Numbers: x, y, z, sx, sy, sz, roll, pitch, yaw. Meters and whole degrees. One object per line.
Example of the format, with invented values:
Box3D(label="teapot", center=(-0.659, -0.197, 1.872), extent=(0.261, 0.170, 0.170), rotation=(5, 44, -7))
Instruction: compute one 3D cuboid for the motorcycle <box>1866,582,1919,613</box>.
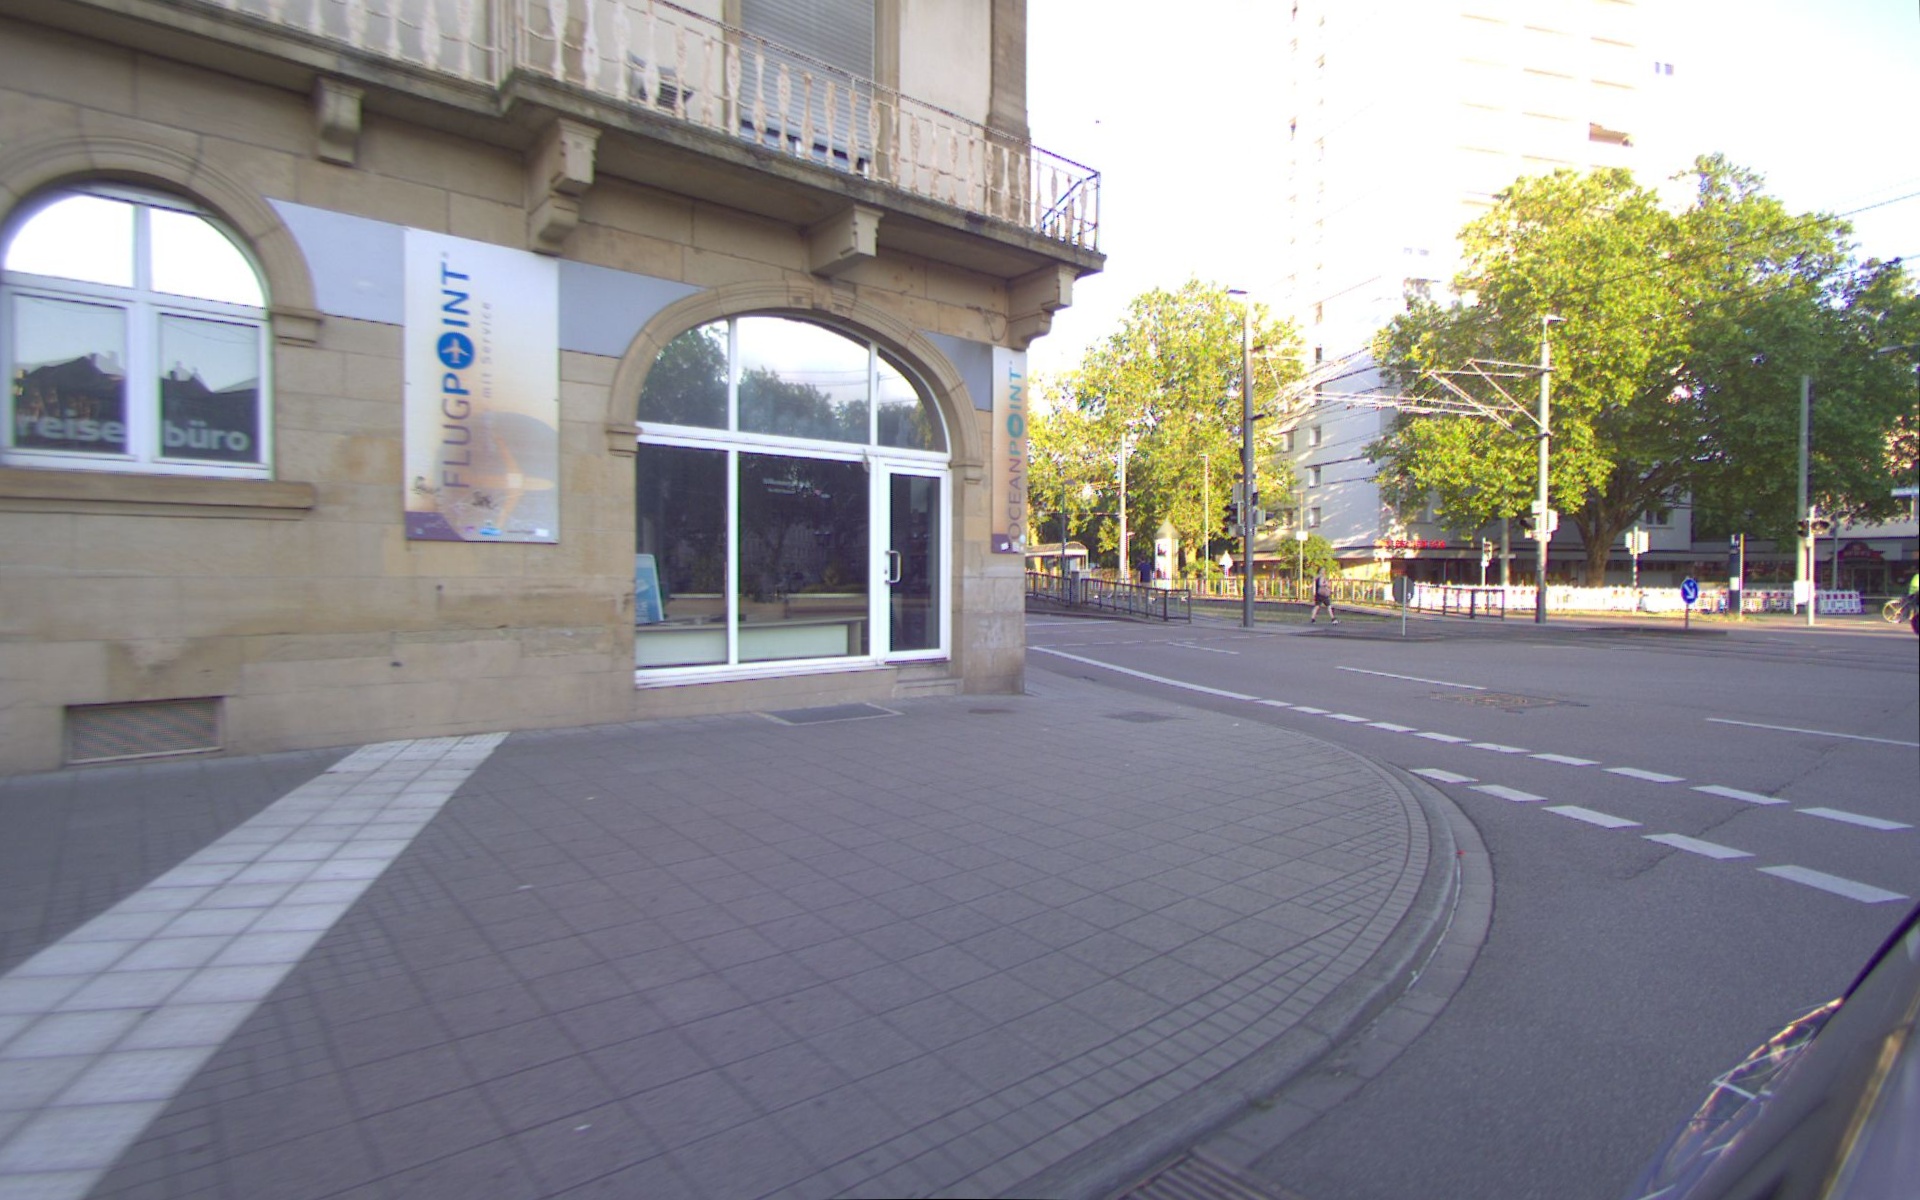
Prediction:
Box3D(label="motorcycle", center=(29.447, -0.079, 31.130), extent=(2.261, 0.934, 0.618), rotation=(1, 1, 26))

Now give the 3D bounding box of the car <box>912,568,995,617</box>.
Box3D(label="car", center=(-0.275, -0.301, 33.114), extent=(1.879, 1.482, 4.064), rotation=(0, 2, -13))

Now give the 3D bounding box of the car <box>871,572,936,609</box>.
Box3D(label="car", center=(-2.284, -0.410, 39.935), extent=(1.824, 1.389, 4.009), rotation=(0, 2, -14))

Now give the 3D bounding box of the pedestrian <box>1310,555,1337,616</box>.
Box3D(label="pedestrian", center=(10.082, -0.417, 28.077), extent=(0.652, 1.677, 0.540), rotation=(0, 1, 16))

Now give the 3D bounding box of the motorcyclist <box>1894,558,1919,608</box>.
Box3D(label="motorcyclist", center=(29.425, -0.534, 31.137), extent=(0.821, 1.538, 0.618), rotation=(1, 1, 25))

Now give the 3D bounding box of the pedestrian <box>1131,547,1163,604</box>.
Box3D(label="pedestrian", center=(6.090, -0.799, 32.946), extent=(0.772, 1.839, 0.713), rotation=(0, 1, -16))

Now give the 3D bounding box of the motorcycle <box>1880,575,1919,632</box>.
Box3D(label="motorcycle", center=(19.806, 0.087, 19.871), extent=(0.892, 1.144, 2.807), rotation=(0, 2, -1))
